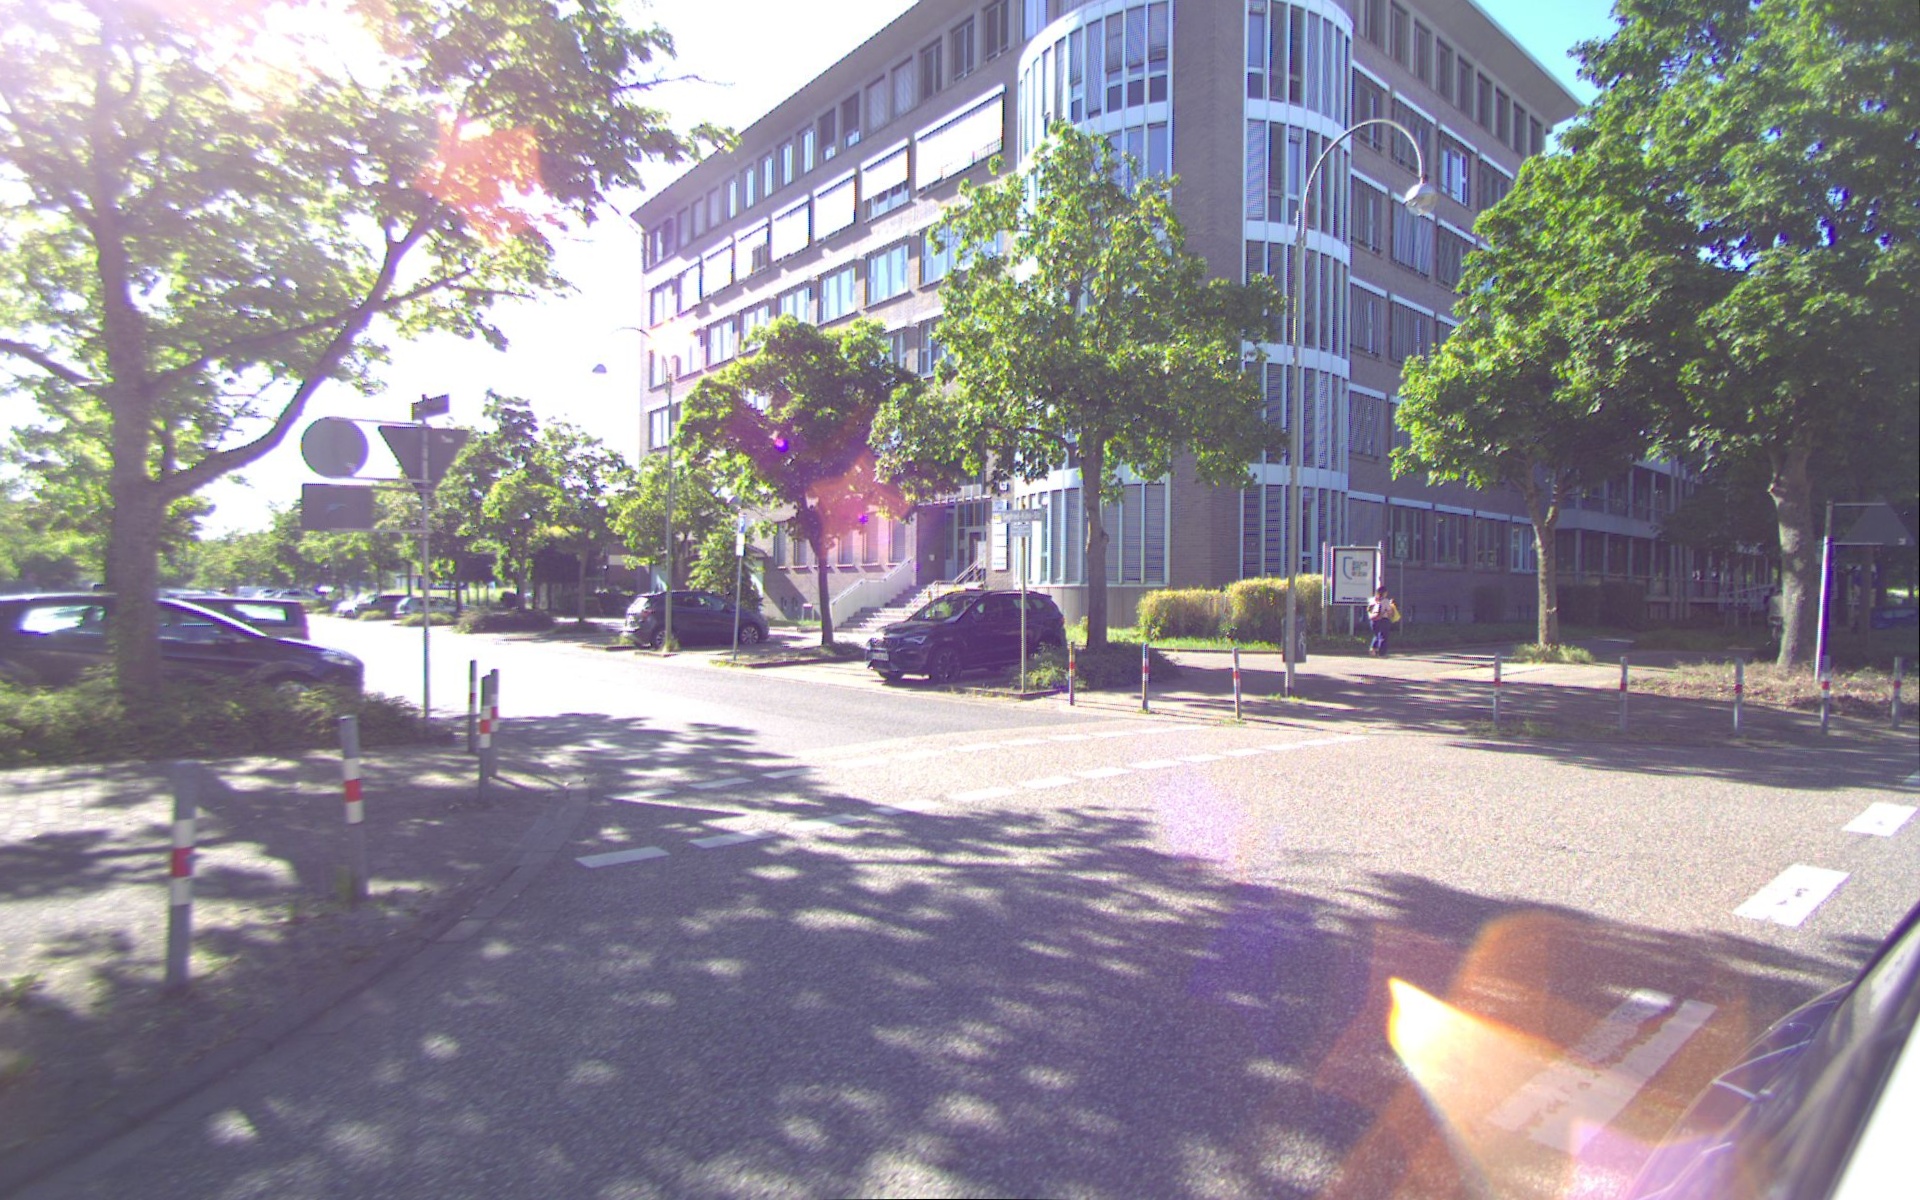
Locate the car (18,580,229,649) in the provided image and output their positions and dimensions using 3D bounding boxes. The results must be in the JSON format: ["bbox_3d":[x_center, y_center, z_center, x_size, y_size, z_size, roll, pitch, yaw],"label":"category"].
[{"bbox_3d":[-20.959,0.400,25.513,3.929,1.584,1.625,3,-2,-41],"label":"car"}]

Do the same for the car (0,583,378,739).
[{"bbox_3d":[-8.658,0.584,11.020,3.844,1.481,1.657,1,0,-37],"label":"car"}]

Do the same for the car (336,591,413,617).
[{"bbox_3d":[-35.884,0.233,62.039,3.845,1.462,1.533,-2,2,-44],"label":"car"}]

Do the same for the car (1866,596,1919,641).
[{"bbox_3d":[31.972,0.665,32.514,1.627,1.387,4.120,0,3,-43],"label":"car"}]

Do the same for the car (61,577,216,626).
[{"bbox_3d":[-26.783,0.034,33.094,3.841,1.521,1.534,0,0,-41],"label":"car"}]

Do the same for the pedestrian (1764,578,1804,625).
[{"bbox_3d":[32.401,0.072,39.791,1.001,1.821,1.036,0,-1,-41],"label":"pedestrian"}]

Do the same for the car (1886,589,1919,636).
[{"bbox_3d":[35.409,0.493,35.552,1.633,1.609,4.129,-1,4,-44],"label":"car"}]

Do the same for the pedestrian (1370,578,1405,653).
[{"bbox_3d":[9.319,0.318,22.035,0.537,1.602,0.639,0,0,40],"label":"pedestrian"}]

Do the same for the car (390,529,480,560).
[{"bbox_3d":[-27.044,-2.826,52.212,3.845,1.462,1.533,-2,1,-43],"label":"car"}]

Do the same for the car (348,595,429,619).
[{"bbox_3d":[-32.828,0.366,58.176,3.844,1.332,1.533,0,0,-44],"label":"car"}]

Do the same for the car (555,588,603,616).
[{"bbox_3d":[-20.996,0.087,55.718,1.507,1.462,3.909,-1,1,-35],"label":"car"}]

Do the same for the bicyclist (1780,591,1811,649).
[{"bbox_3d":[23.934,0.562,29.002,0.808,1.657,0.538,0,0,-40],"label":"bicyclist"}]

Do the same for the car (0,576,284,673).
[{"bbox_3d":[-13.994,0.359,17.106,4.193,1.479,1.694,0,1,-37],"label":"car"}]

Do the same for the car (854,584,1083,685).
[{"bbox_3d":[0.249,0.558,19.119,4.294,1.585,1.739,-3,2,-43],"label":"car"}]

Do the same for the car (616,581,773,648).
[{"bbox_3d":[-7.533,0.366,28.835,3.925,1.604,1.704,-4,2,-35],"label":"car"}]

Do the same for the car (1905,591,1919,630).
[{"bbox_3d":[38.609,0.469,38.231,1.633,1.479,4.129,0,3,-44],"label":"car"}]

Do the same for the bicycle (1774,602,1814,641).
[{"bbox_3d":[23.849,0.604,28.924,1.885,1.092,0.535,0,0,-40],"label":"bicycle"}]
